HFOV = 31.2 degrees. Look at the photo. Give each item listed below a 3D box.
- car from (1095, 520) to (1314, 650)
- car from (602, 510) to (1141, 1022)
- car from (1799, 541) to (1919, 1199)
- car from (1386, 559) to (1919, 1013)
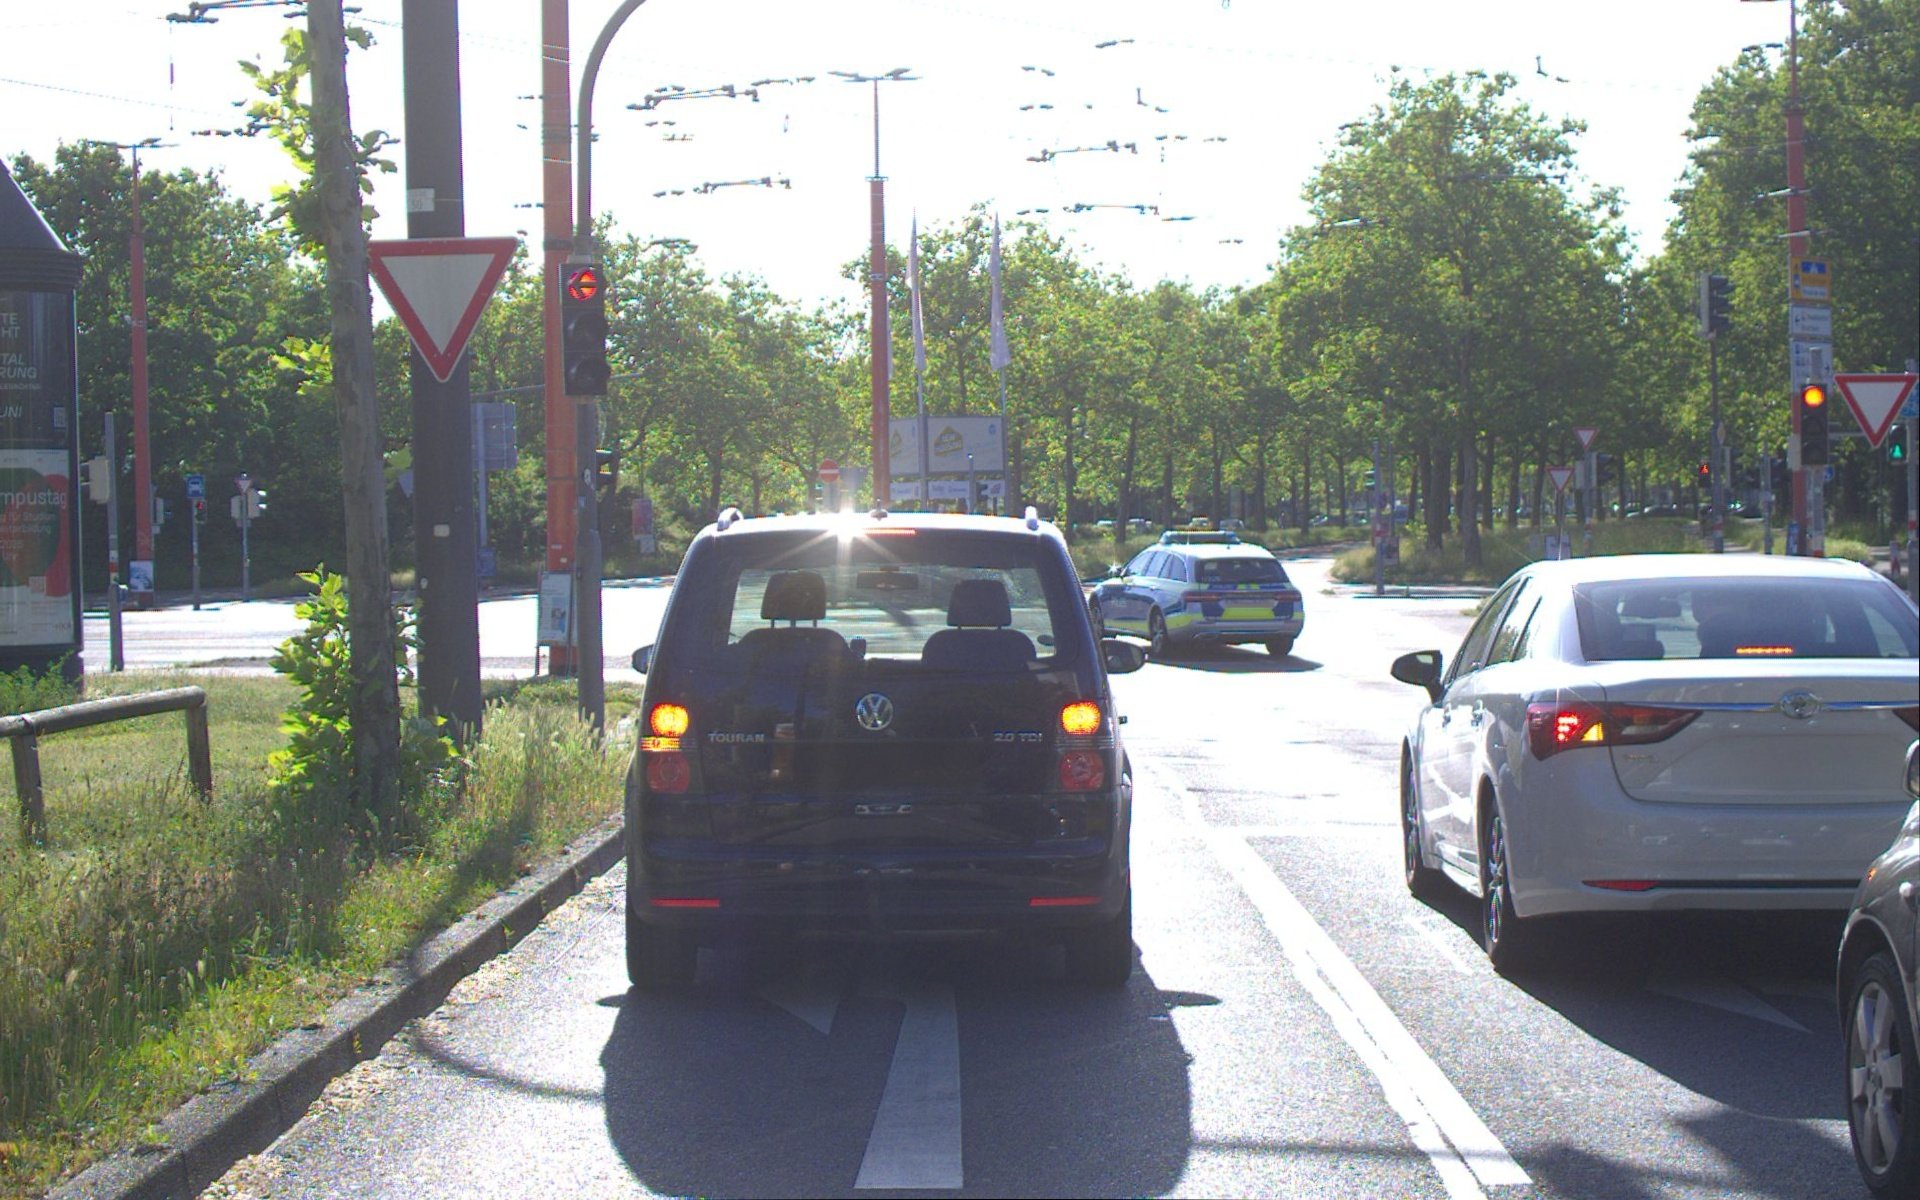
[{"bbox_3d":[3.238,-0.227,46.327,1.797,1.650,4.115,-1,1,-13],"label":"car"},{"bbox_3d":[-0.305,0.492,12.898,1.700,1.616,3.897,-1,1,-1],"label":"car"},{"bbox_3d":[2.888,0.643,6.619,1.654,1.495,3.615,1,1,0],"label":"car"},{"bbox_3d":[2.719,0.577,13.187,1.720,1.433,4.198,0,1,1],"label":"car"}]
